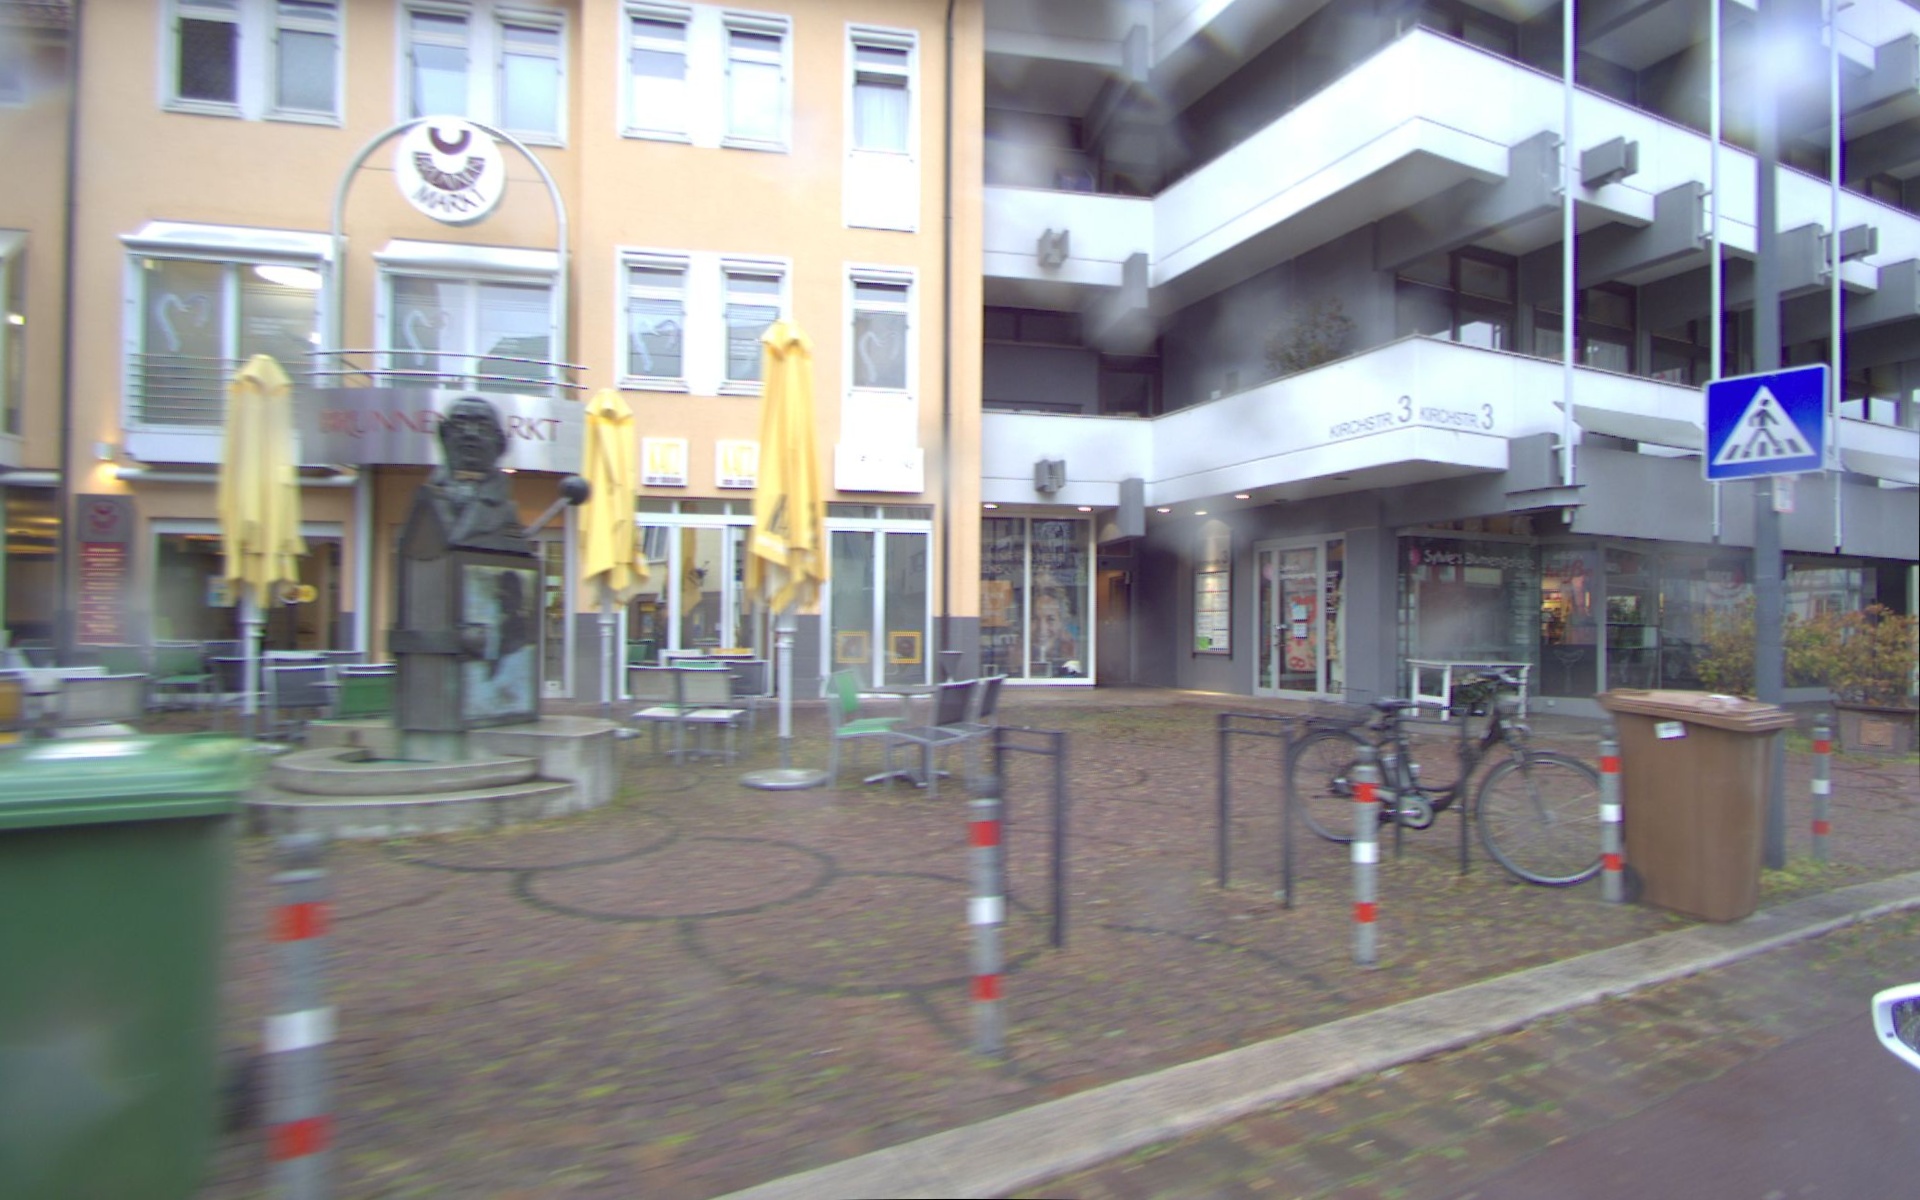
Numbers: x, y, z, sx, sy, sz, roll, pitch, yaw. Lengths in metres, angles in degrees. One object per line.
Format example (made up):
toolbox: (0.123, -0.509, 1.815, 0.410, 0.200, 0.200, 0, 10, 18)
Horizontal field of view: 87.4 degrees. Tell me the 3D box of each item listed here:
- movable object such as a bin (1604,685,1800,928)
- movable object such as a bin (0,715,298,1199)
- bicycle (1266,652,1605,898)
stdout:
movable object such as a bin: (3.684, 0.971, 4.993, 0.627, 1.033, 0.680, 2, -1, -42)
movable object such as a bin: (-2.017, 0.841, 2.415, 0.662, 1.056, 0.682, 3, -2, -34)
bicycle: (2.707, 0.930, 5.881, 0.441, 1.179, 1.728, 4, -3, -44)
